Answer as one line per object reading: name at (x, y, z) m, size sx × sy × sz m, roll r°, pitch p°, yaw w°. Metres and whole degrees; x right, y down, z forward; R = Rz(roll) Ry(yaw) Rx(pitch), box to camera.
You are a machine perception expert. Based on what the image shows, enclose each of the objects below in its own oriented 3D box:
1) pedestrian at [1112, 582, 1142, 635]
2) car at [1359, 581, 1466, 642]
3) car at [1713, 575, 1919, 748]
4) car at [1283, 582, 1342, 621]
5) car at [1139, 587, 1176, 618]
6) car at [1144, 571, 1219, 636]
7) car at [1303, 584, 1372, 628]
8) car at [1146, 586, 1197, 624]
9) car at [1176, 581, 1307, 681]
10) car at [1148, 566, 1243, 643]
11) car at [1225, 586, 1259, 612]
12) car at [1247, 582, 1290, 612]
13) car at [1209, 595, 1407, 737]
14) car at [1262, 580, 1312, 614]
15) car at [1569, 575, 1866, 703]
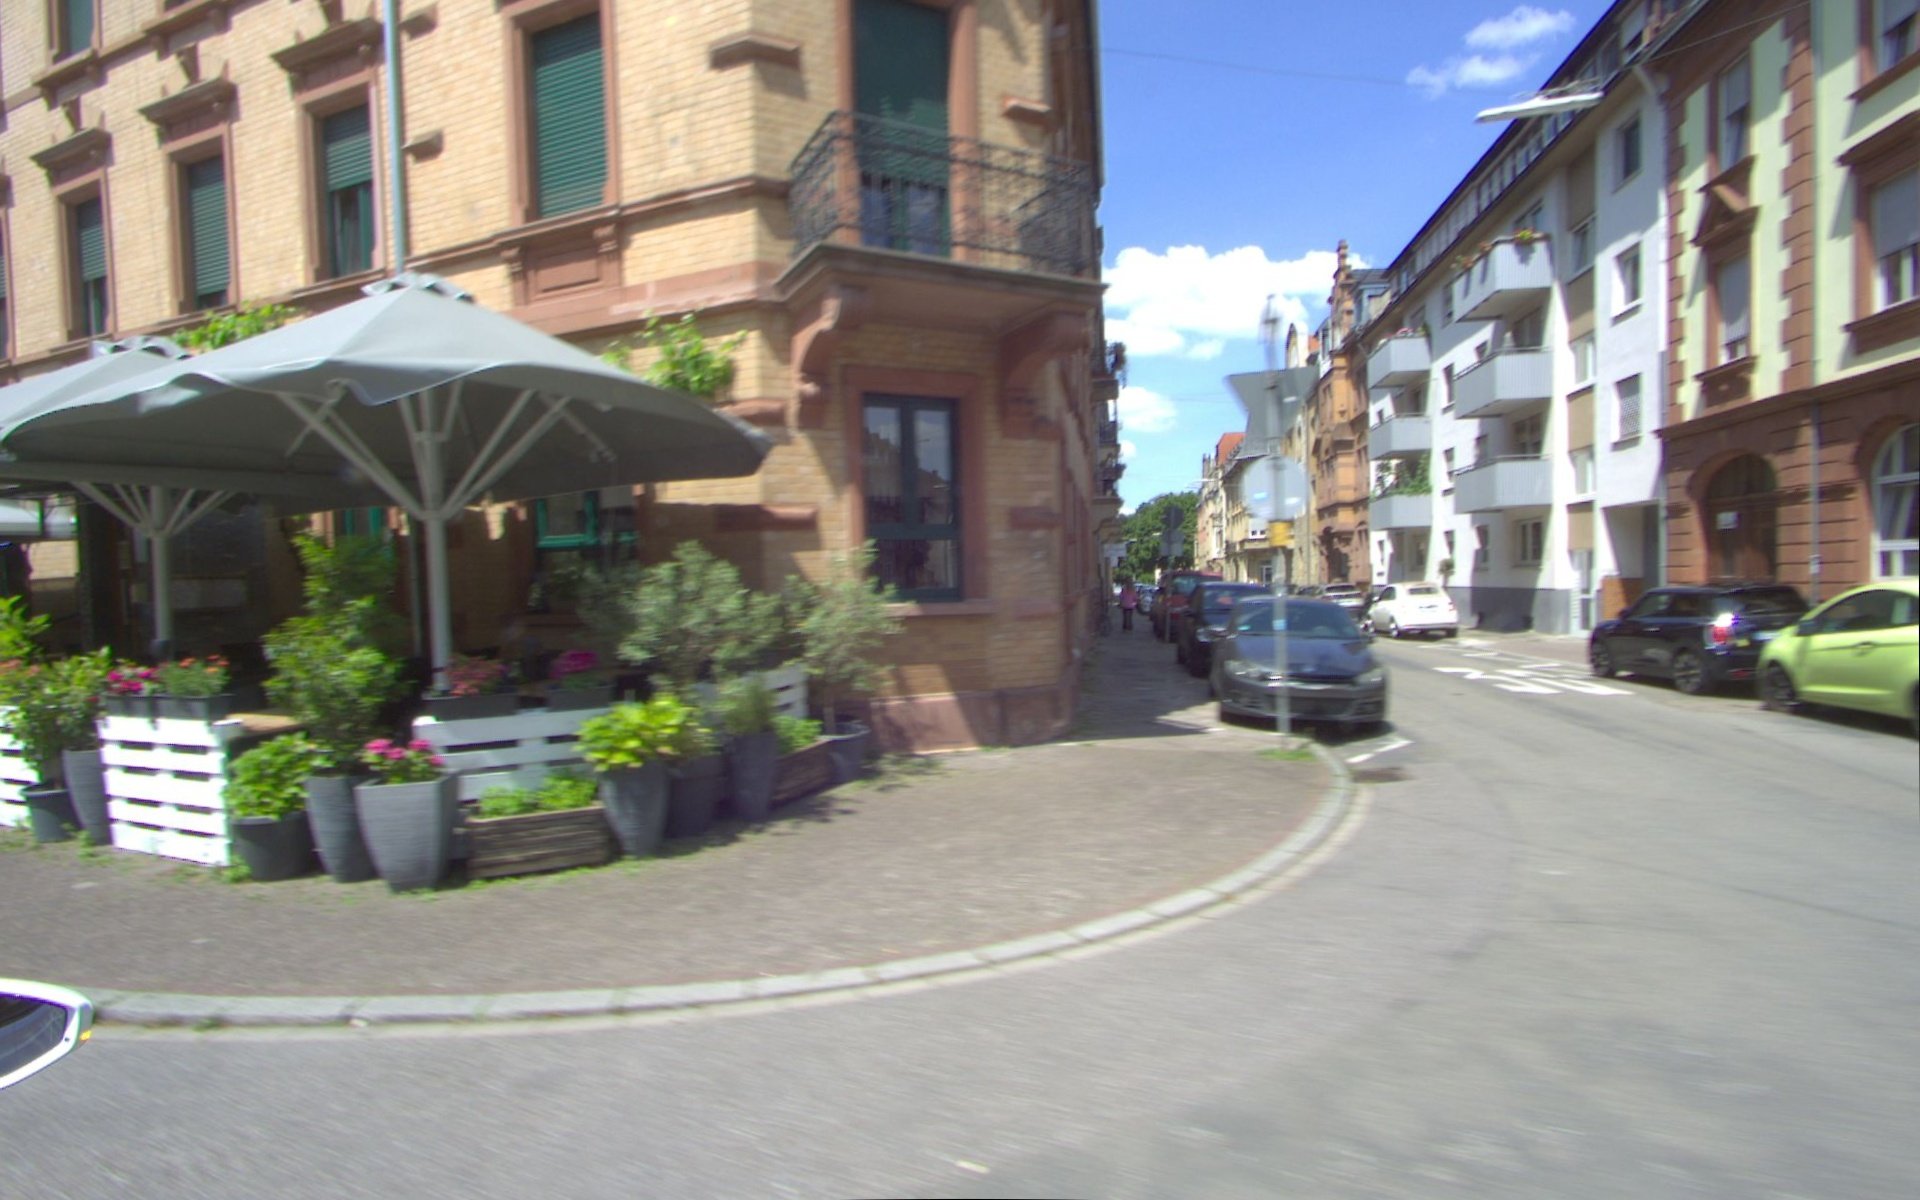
pedestrian at (5.309, 0.259, 31.816) m, size 0.913 × 1.643 × 0.805 m, roll -1°, pitch 1°, yaw 9°
car at (12.572, 0.284, 28.068) m, size 1.698 × 1.499 × 3.997 m, roll -3°, pitch 0°, yaw 9°
car at (9.813, 0.533, 10.226) m, size 1.771 × 1.499 × 3.996 m, roll -3°, pitch 0°, yaw 11°
car at (15.143, 0.043, 43.157) m, size 1.771 × 1.499 × 3.996 m, roll -3°, pitch 0°, yaw 11°
car at (10.578, 0.104, 53.716) m, size 1.880 × 1.557 × 4.132 m, roll -1°, pitch 1°, yaw 11°
car at (7.271, 0.087, 33.280) m, size 1.982 × 1.989 × 4.521 m, roll -1°, pitch 1°, yaw 7°
car at (14.380, 0.188, 38.313) m, size 1.771 × 1.499 × 3.996 m, roll -3°, pitch 0°, yaw 11°
car at (9.115, 0.181, 43.332) m, size 1.880 × 1.557 × 4.133 m, roll -1°, pitch 1°, yaw 8°
car at (4.880, 0.479, 17.880) m, size 1.880 × 1.557 × 4.132 m, roll -1°, pitch 1°, yaw 11°
car at (6.550, 0.108, 28.356) m, size 1.982 × 1.989 × 4.521 m, roll -1°, pitch 1°, yaw 5°
car at (18.236, -0.089, 64.859) m, size 1.771 × 1.499 × 3.996 m, roll -3°, pitch 0°, yaw 11°
car at (16.808, -0.179, 54.738) m, size 1.771 × 1.499 × 3.996 m, roll -3°, pitch 0°, yaw 11°
car at (3.982, 0.654, 12.068) m, size 1.881 × 1.383 × 3.995 m, roll -1°, pitch 1°, yaw 14°
car at (15.834, -0.157, 48.678) m, size 1.771 × 1.499 × 3.996 m, roll -3°, pitch 0°, yaw 11°
car at (10.550, 0.480, 14.363) m, size 1.771 × 1.499 × 3.996 m, roll -3°, pitch 0°, yaw 11°
